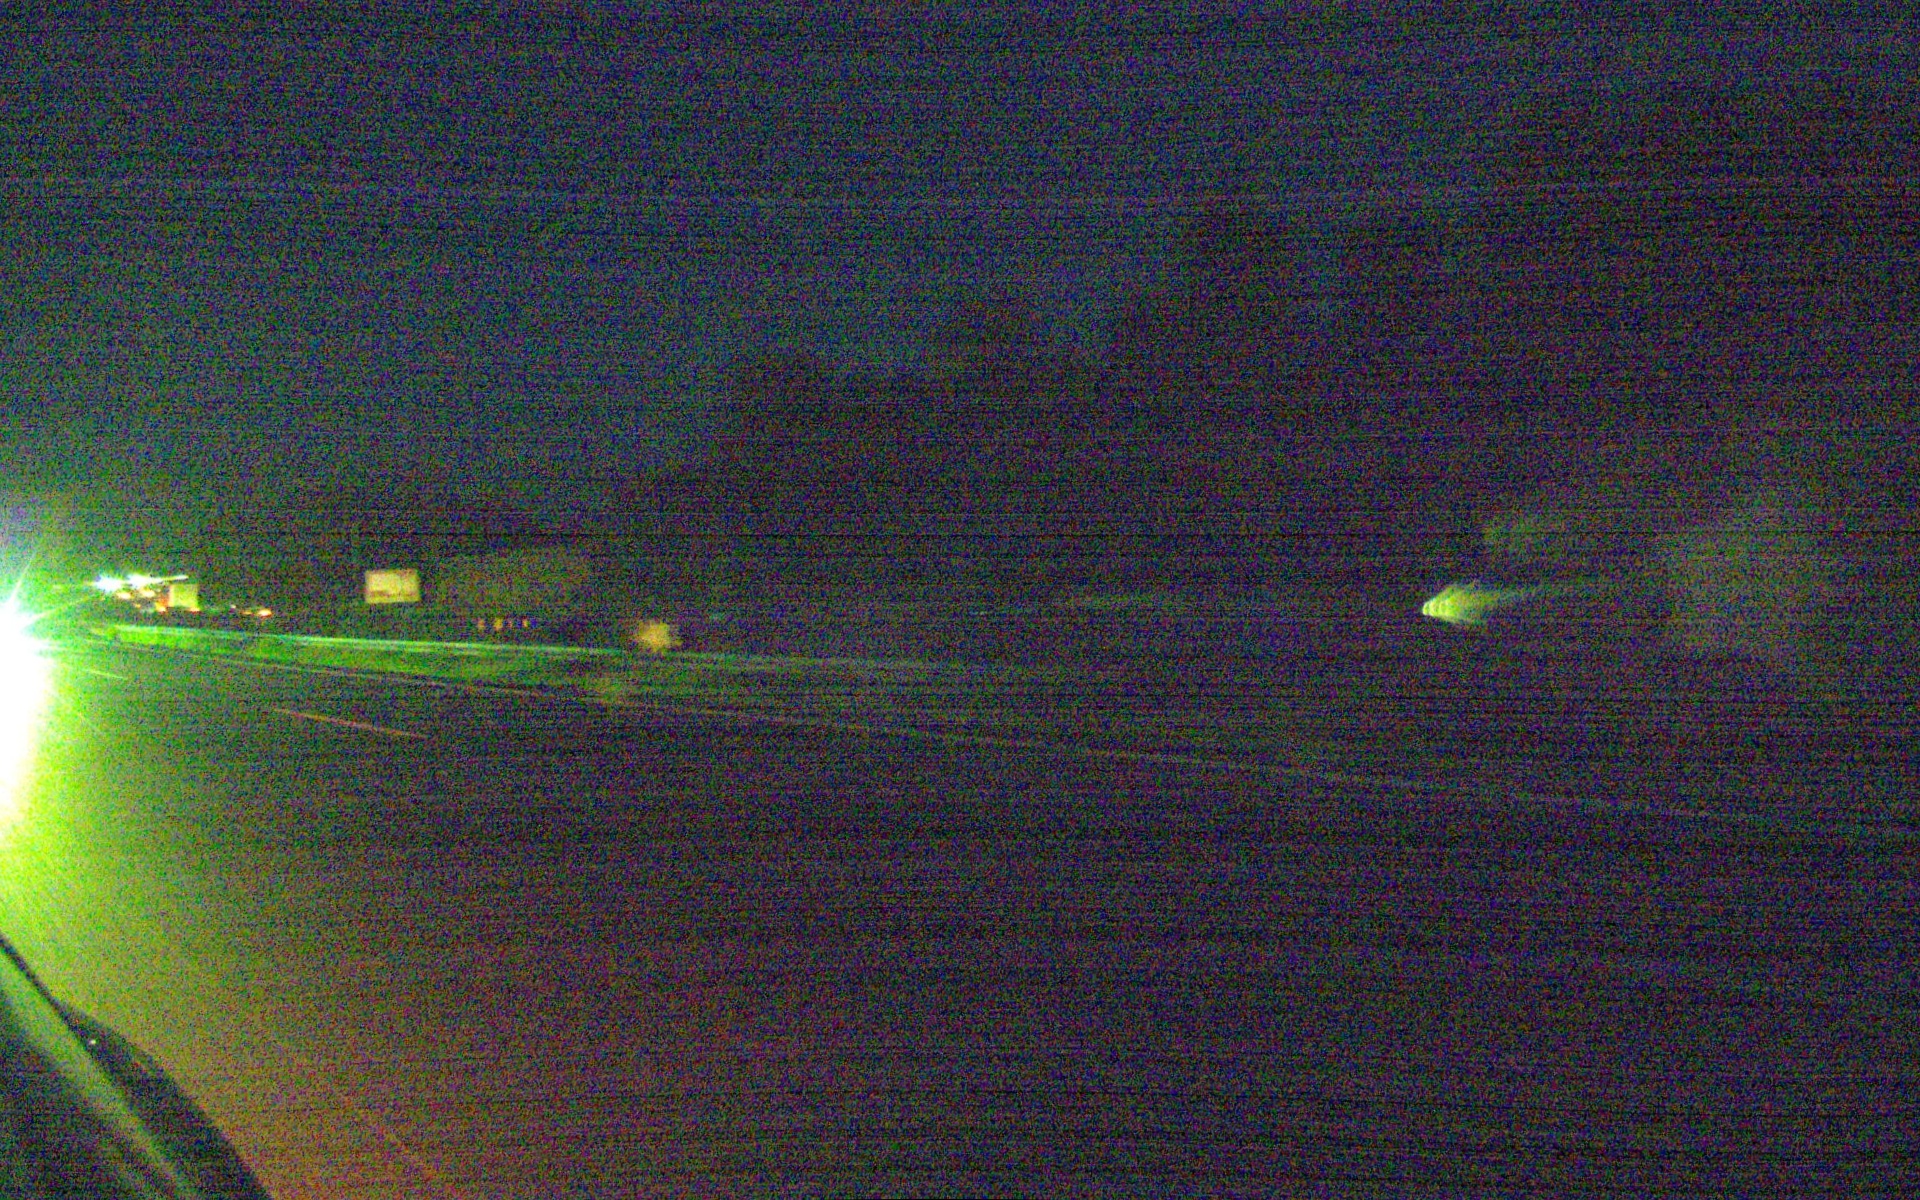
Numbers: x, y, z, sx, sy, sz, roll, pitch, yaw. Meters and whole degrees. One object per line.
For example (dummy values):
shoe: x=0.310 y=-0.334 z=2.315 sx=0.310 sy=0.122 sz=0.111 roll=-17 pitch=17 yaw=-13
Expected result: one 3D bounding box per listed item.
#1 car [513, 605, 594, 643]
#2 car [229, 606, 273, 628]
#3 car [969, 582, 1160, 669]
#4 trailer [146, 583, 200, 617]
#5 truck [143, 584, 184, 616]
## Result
car: x=-19.822 y=1.152 z=49.240 sx=4.073 sy=1.739 sz=1.974 roll=-1 pitch=-1 yaw=40
car: x=-63.857 y=1.537 z=91.130 sx=4.512 sy=1.890 sz=2.372 roll=-1 pitch=-1 yaw=42
car: x=2.400 y=0.588 z=23.806 sx=4.073 sy=1.868 sz=1.974 roll=-1 pitch=-1 yaw=40
trailer: x=-99.229 y=0.004 z=127.466 sx=14.130 sy=4.121 sz=3.558 roll=0 pitch=0 yaw=45
truck: x=-104.108 y=0.011 z=132.288 sx=5.997 sy=4.130 sz=3.549 roll=0 pitch=0 yaw=45
